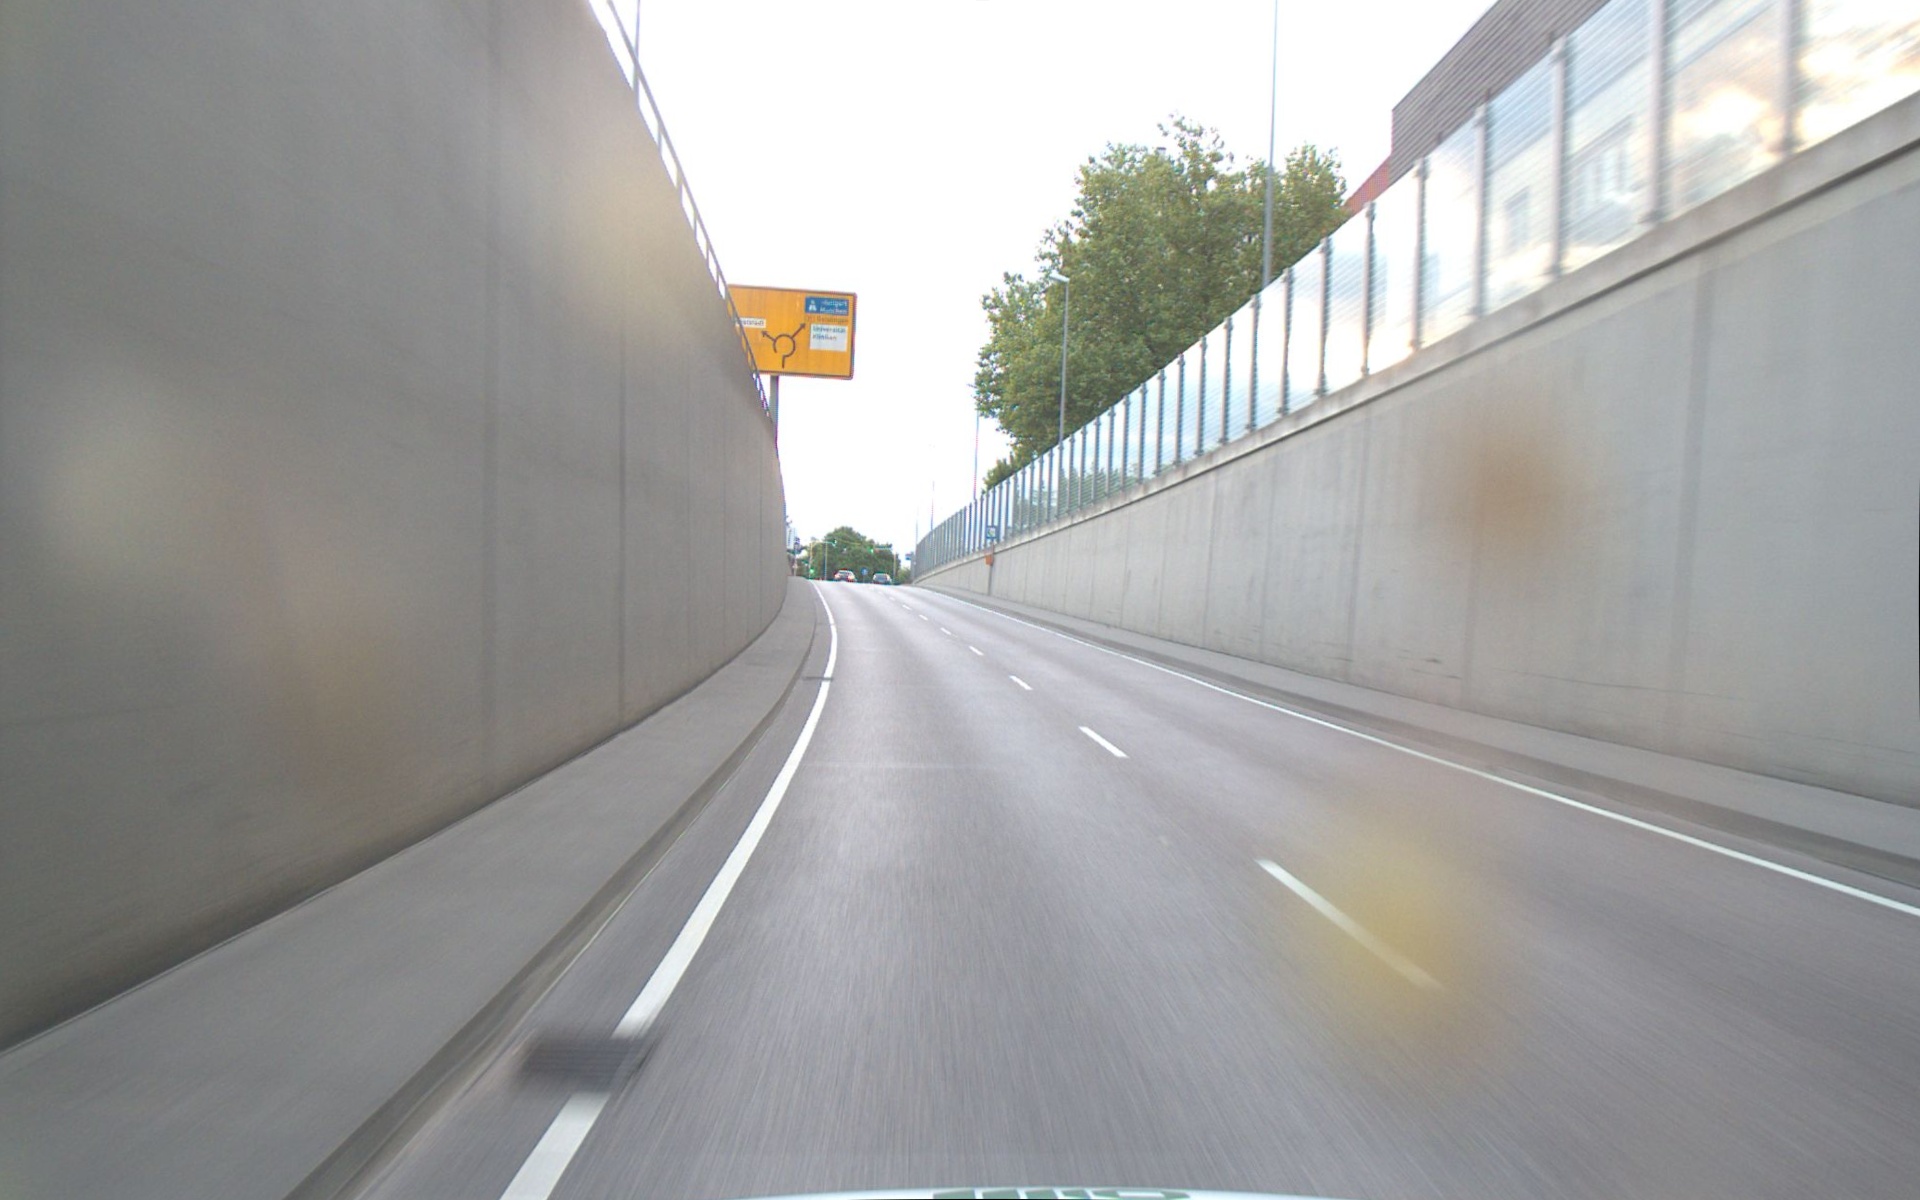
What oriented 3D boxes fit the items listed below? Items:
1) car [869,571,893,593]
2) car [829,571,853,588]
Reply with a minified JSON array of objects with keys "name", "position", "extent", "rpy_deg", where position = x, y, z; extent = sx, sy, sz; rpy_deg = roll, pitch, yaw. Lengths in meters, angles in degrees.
[{"name":"car","position":[-7.302,-1.653,153.119],"extent":[1.834,1.763,3.993],"rpy_deg":[3,-1,-7]},{"name":"car","position":[-10.828,-1.837,150.131],"extent":[1.807,1.413,3.992],"rpy_deg":[3,-1,-9]}]
